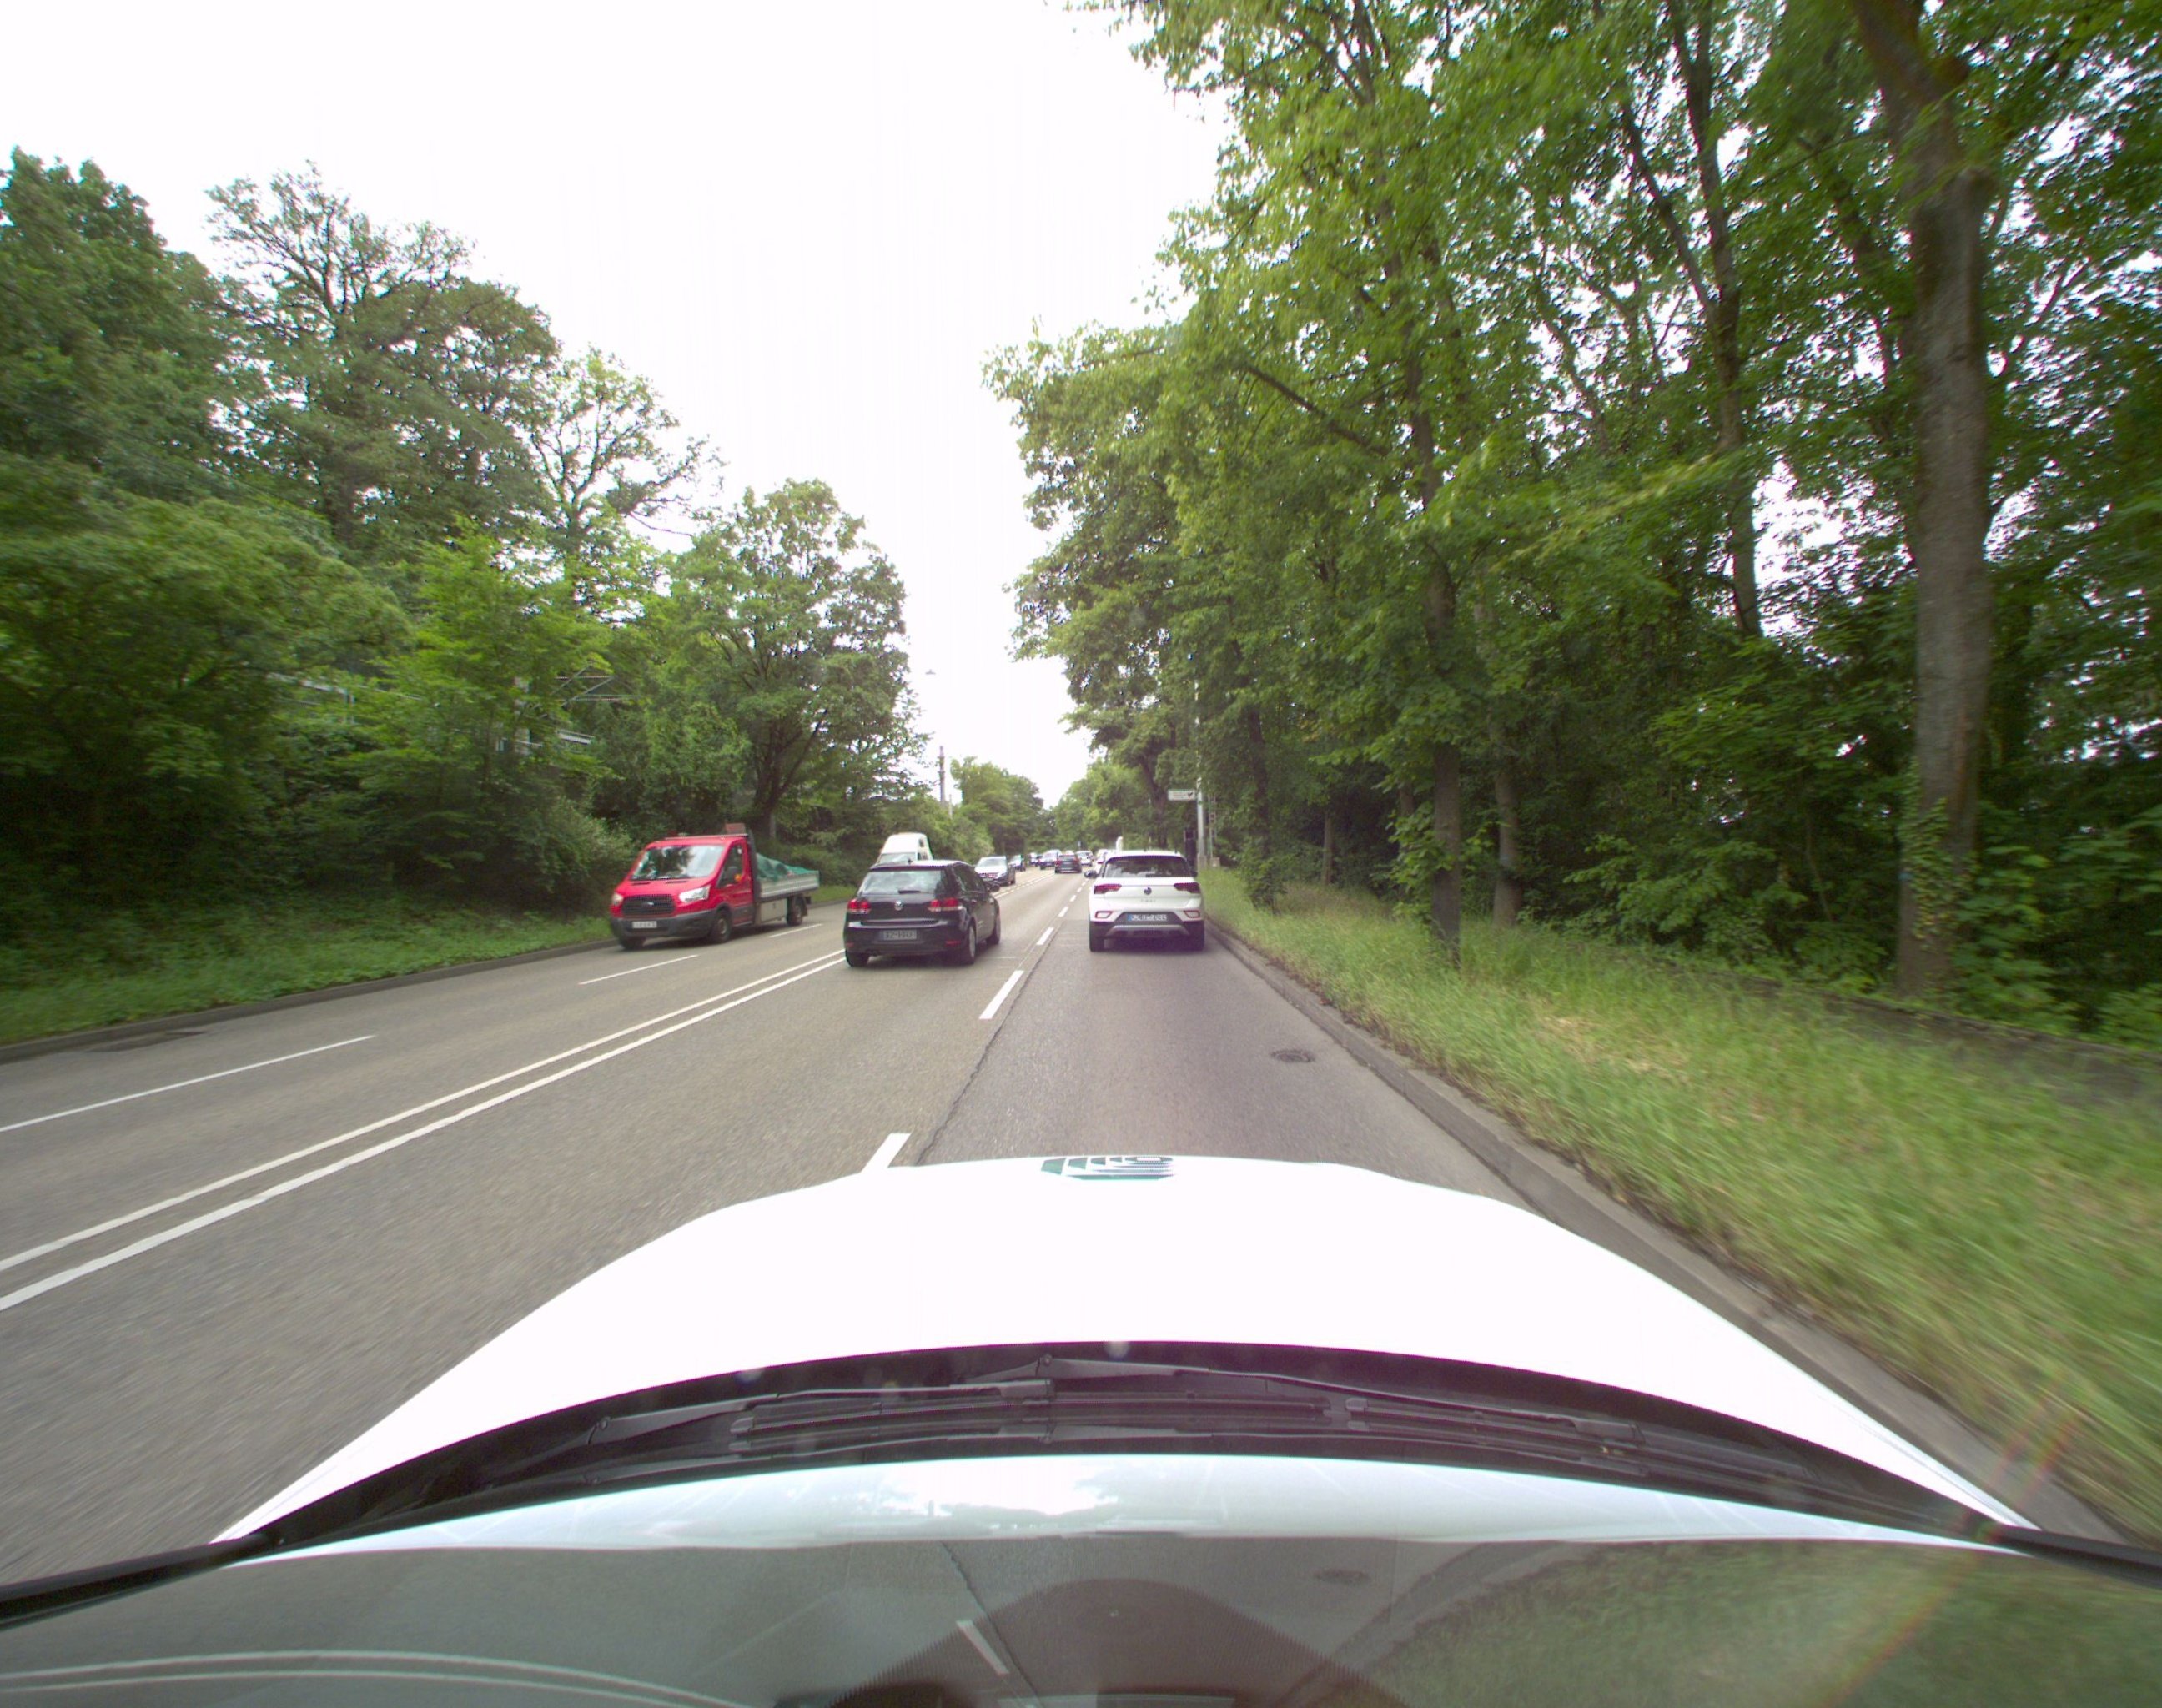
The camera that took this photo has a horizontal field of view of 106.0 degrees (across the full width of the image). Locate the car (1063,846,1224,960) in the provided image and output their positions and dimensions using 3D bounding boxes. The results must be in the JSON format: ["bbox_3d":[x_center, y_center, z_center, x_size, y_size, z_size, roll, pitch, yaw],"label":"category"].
[{"bbox_3d":[0.862,0.705,13.649,1.998,1.596,3.992,-1,0,-6],"label":"car"}]

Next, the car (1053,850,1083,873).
[{"bbox_3d":[-0.929,0.524,60.186,1.986,1.592,4.002,-1,0,2],"label":"car"}]

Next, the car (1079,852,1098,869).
[{"bbox_3d":[0.741,0.629,82.639,1.815,1.623,4.002,-1,0,2],"label":"car"}]

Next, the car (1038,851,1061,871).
[{"bbox_3d":[-3.073,0.730,79.599,1.803,1.662,4.832,-3,-3,2],"label":"car"}]

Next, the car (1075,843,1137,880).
[{"bbox_3d":[1.270,0.386,43.379,1.858,1.702,3.973,-4,1,-20],"label":"car"}]

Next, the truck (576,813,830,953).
[{"bbox_3d":[-7.976,0.545,18.235,2.167,2.411,6.471,-4,0,3],"label":"truck"}]

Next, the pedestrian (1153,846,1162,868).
[{"bbox_3d":[5.980,0.234,63.431,0.607,1.698,0.548,-1,-1,-2],"label":"pedestrian"}]

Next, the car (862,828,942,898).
[{"bbox_3d":[-7.364,0.366,34.024,1.880,2.555,4.917,-5,0,2],"label":"car"}]

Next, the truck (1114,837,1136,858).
[{"bbox_3d":[6.642,-0.949,123.027,2.477,3.181,7.220,-1,0,-3],"label":"truck"}]

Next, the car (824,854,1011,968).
[{"bbox_3d":[-2.292,0.748,12.545,1.942,1.466,4.002,-1,0,2],"label":"car"}]

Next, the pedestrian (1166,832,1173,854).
[{"bbox_3d":[6.903,-0.852,63.609,0.518,1.753,0.524,-1,-1,-2],"label":"pedestrian"}]

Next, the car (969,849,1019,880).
[{"bbox_3d":[-4.256,0.496,40.595,1.832,1.465,4.468,-1,0,2],"label":"car"}]
